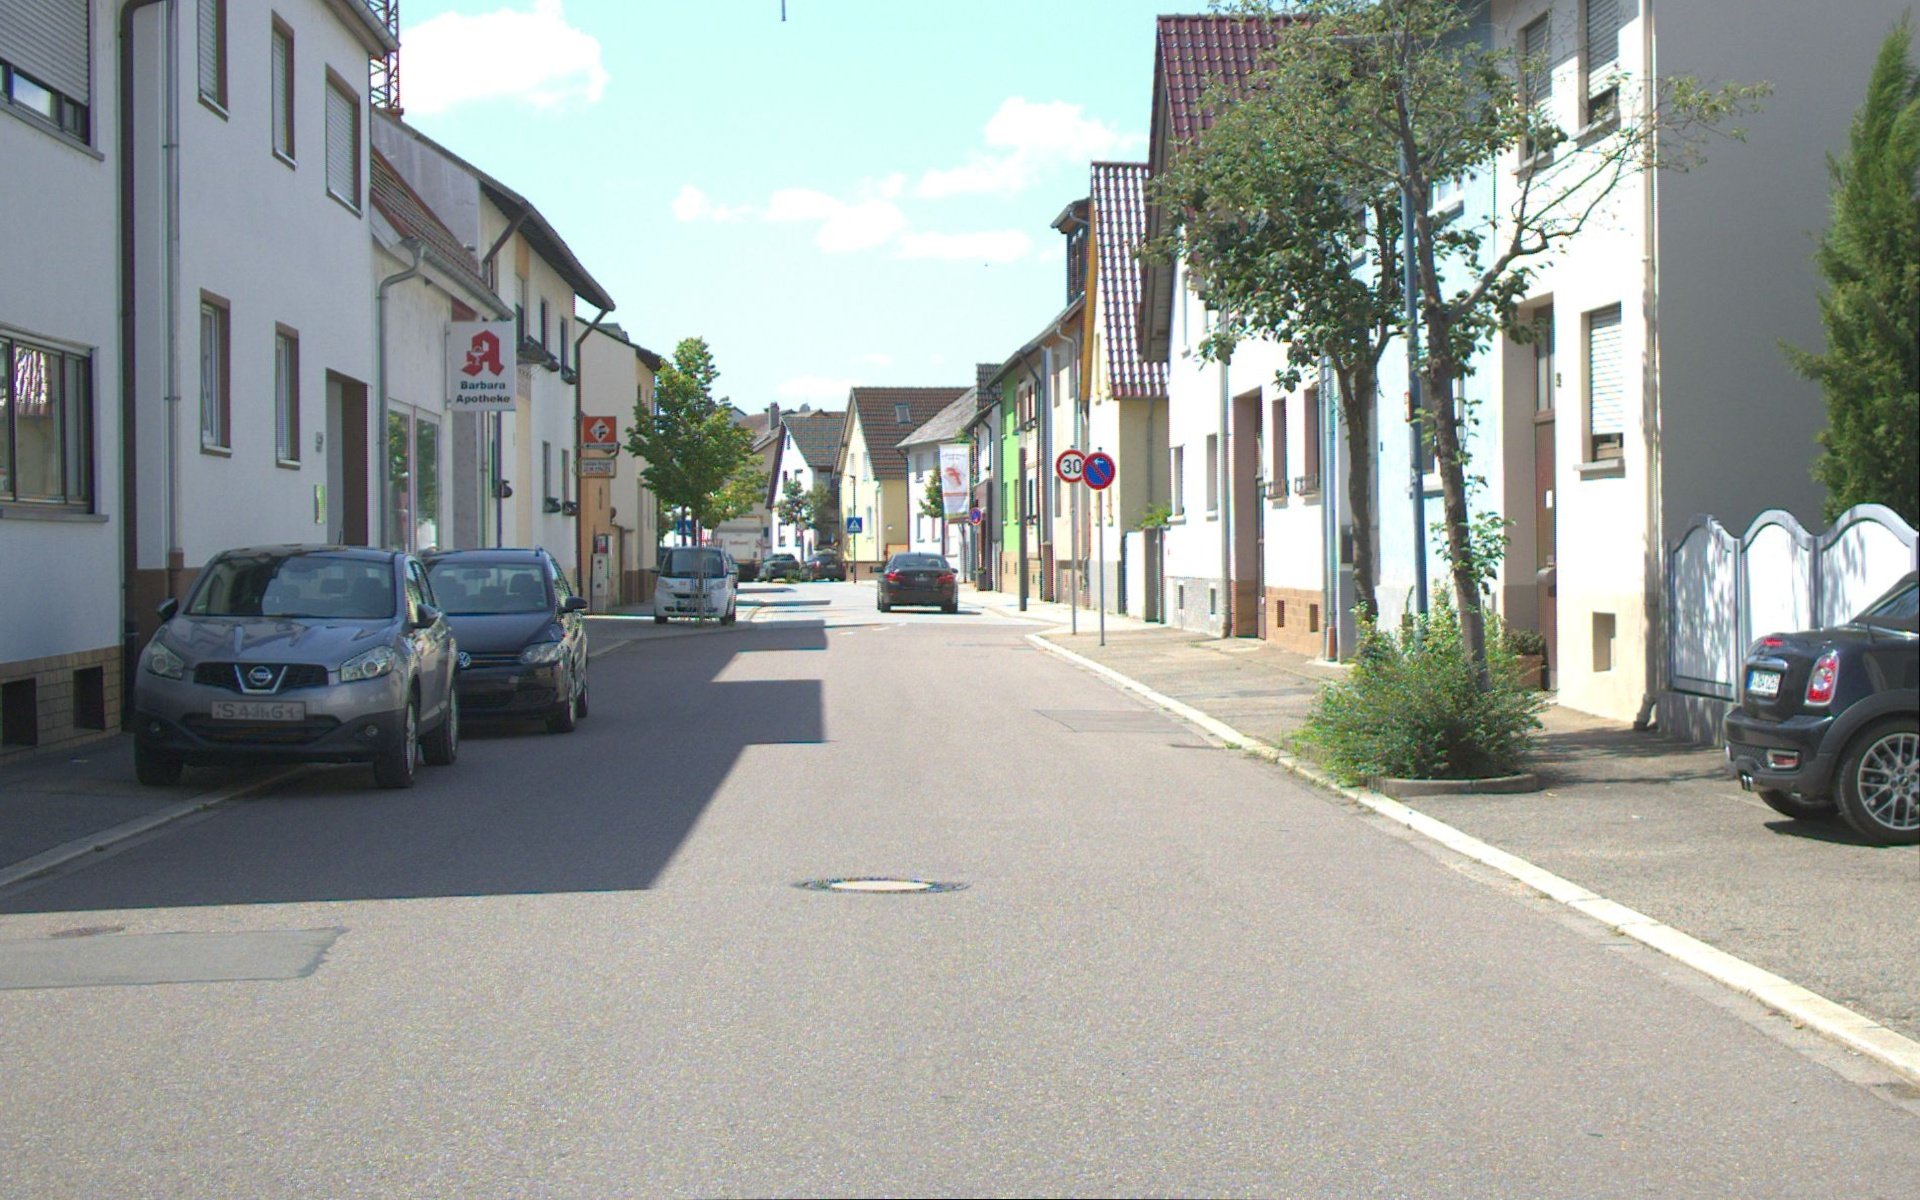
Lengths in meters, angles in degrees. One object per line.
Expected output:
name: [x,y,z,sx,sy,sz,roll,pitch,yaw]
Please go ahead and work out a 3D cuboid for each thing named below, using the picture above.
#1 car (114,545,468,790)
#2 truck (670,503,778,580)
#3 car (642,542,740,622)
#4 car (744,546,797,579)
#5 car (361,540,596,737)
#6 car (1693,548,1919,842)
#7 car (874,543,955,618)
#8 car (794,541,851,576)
car: [-4.503,0.388,23.711,1.758,1.519,4.289,-1,1,-2]
truck: [-12.689,-3.056,183.401,3.378,3.852,13.930,-1,1,-14]
car: [-5.420,-0.389,69.667,1.723,1.550,4.172,1,1,-1]
car: [-10.278,-2.023,186.007,1.820,1.747,4.230,-1,1,-18]
car: [-4.175,0.280,30.334,1.653,1.603,4.061,-1,1,-2]
car: [5.889,0.435,17.500,3.922,1.410,1.740,-1,1,-1]
car: [-1.129,-0.482,83.747,1.782,1.747,4.000,-1,1,-3]
car: [-7.081,-2.101,176.505,1.782,1.747,4.230,-1,1,-18]
